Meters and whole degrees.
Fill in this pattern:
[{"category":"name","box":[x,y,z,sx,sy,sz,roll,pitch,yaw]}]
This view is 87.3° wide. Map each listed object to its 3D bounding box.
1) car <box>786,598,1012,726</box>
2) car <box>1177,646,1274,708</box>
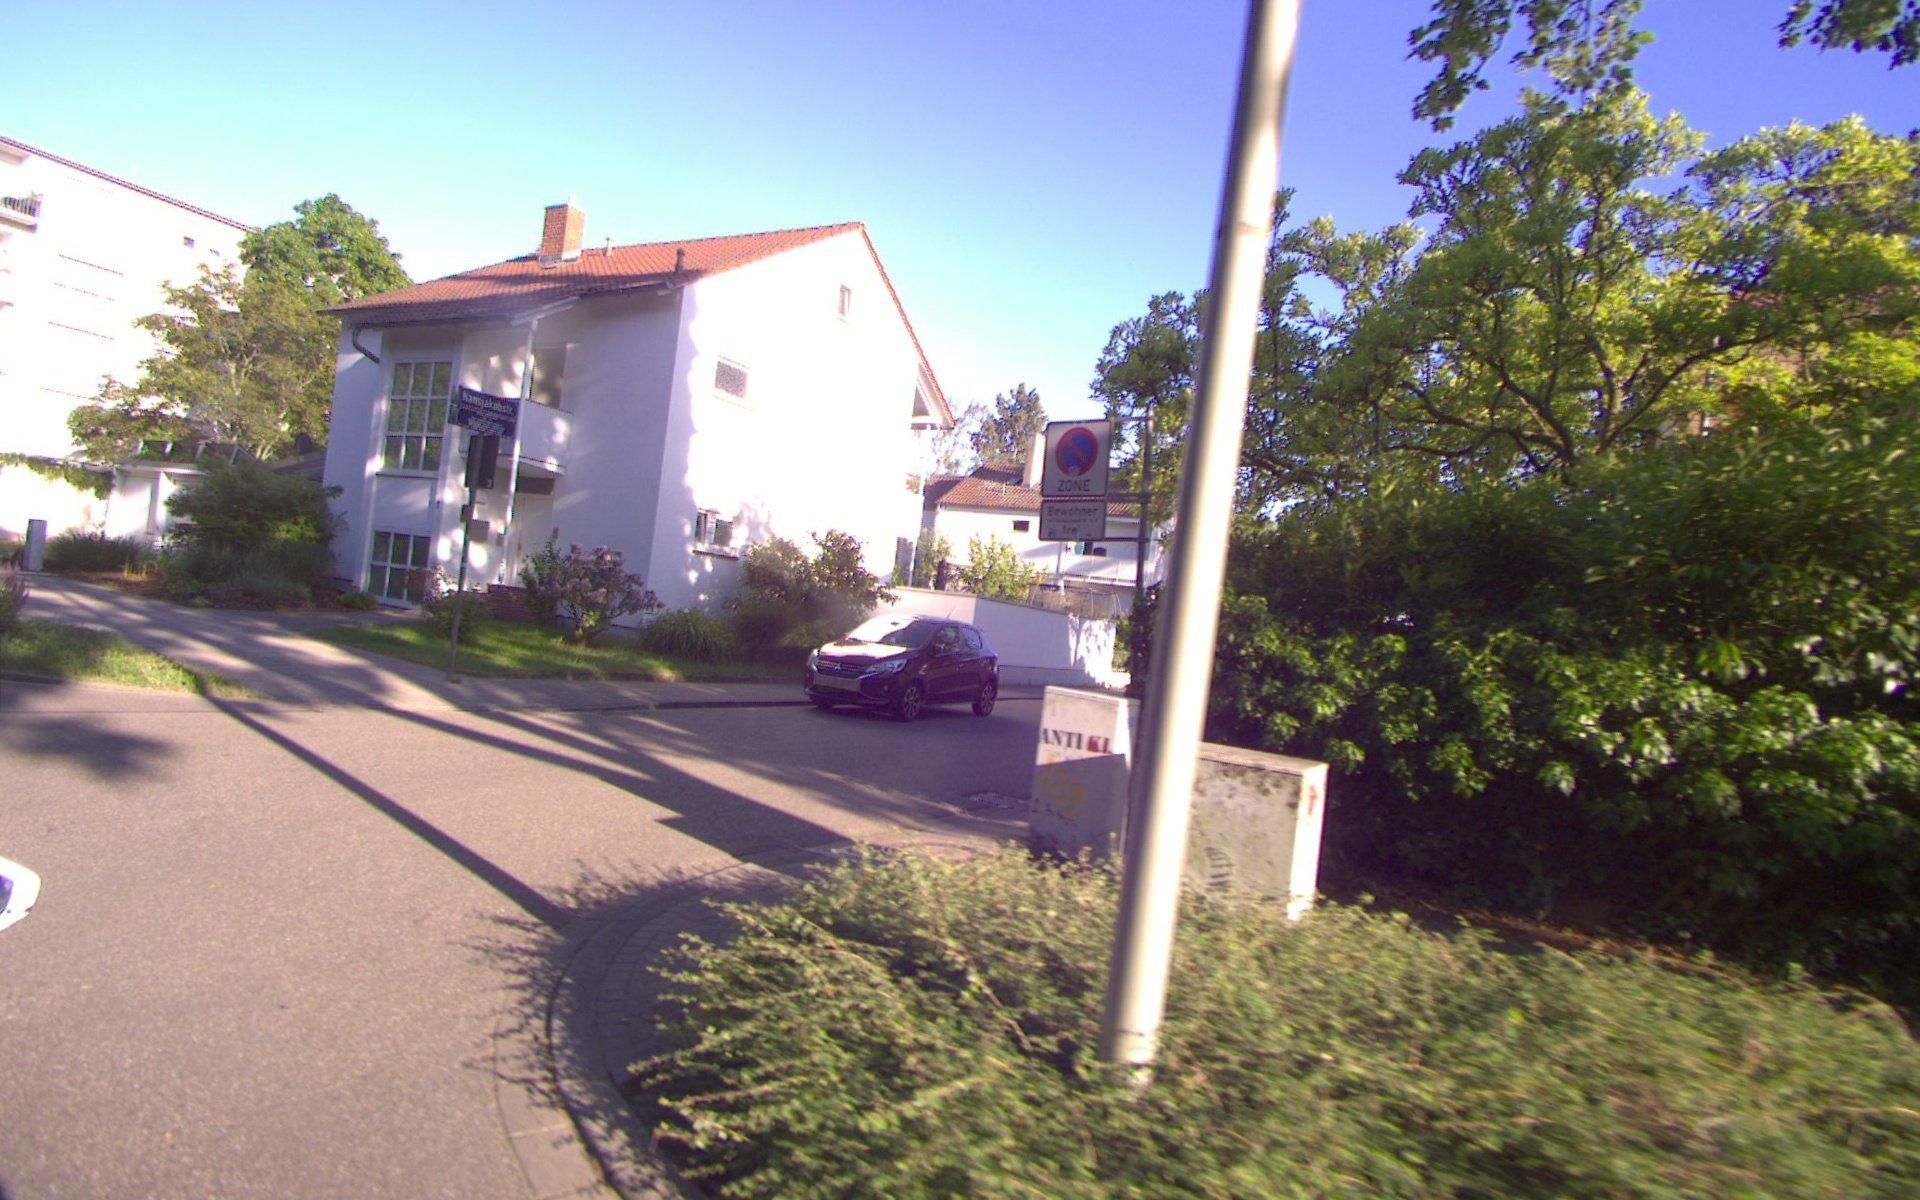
[{"category":"car","box":[-0.787,0.985,15.371,1.661,1.519,3.742,7,-2,26]},{"category":"car","box":[8.633,2.519,32.455,1.919,1.641,4.050,5,-3,30]}]
